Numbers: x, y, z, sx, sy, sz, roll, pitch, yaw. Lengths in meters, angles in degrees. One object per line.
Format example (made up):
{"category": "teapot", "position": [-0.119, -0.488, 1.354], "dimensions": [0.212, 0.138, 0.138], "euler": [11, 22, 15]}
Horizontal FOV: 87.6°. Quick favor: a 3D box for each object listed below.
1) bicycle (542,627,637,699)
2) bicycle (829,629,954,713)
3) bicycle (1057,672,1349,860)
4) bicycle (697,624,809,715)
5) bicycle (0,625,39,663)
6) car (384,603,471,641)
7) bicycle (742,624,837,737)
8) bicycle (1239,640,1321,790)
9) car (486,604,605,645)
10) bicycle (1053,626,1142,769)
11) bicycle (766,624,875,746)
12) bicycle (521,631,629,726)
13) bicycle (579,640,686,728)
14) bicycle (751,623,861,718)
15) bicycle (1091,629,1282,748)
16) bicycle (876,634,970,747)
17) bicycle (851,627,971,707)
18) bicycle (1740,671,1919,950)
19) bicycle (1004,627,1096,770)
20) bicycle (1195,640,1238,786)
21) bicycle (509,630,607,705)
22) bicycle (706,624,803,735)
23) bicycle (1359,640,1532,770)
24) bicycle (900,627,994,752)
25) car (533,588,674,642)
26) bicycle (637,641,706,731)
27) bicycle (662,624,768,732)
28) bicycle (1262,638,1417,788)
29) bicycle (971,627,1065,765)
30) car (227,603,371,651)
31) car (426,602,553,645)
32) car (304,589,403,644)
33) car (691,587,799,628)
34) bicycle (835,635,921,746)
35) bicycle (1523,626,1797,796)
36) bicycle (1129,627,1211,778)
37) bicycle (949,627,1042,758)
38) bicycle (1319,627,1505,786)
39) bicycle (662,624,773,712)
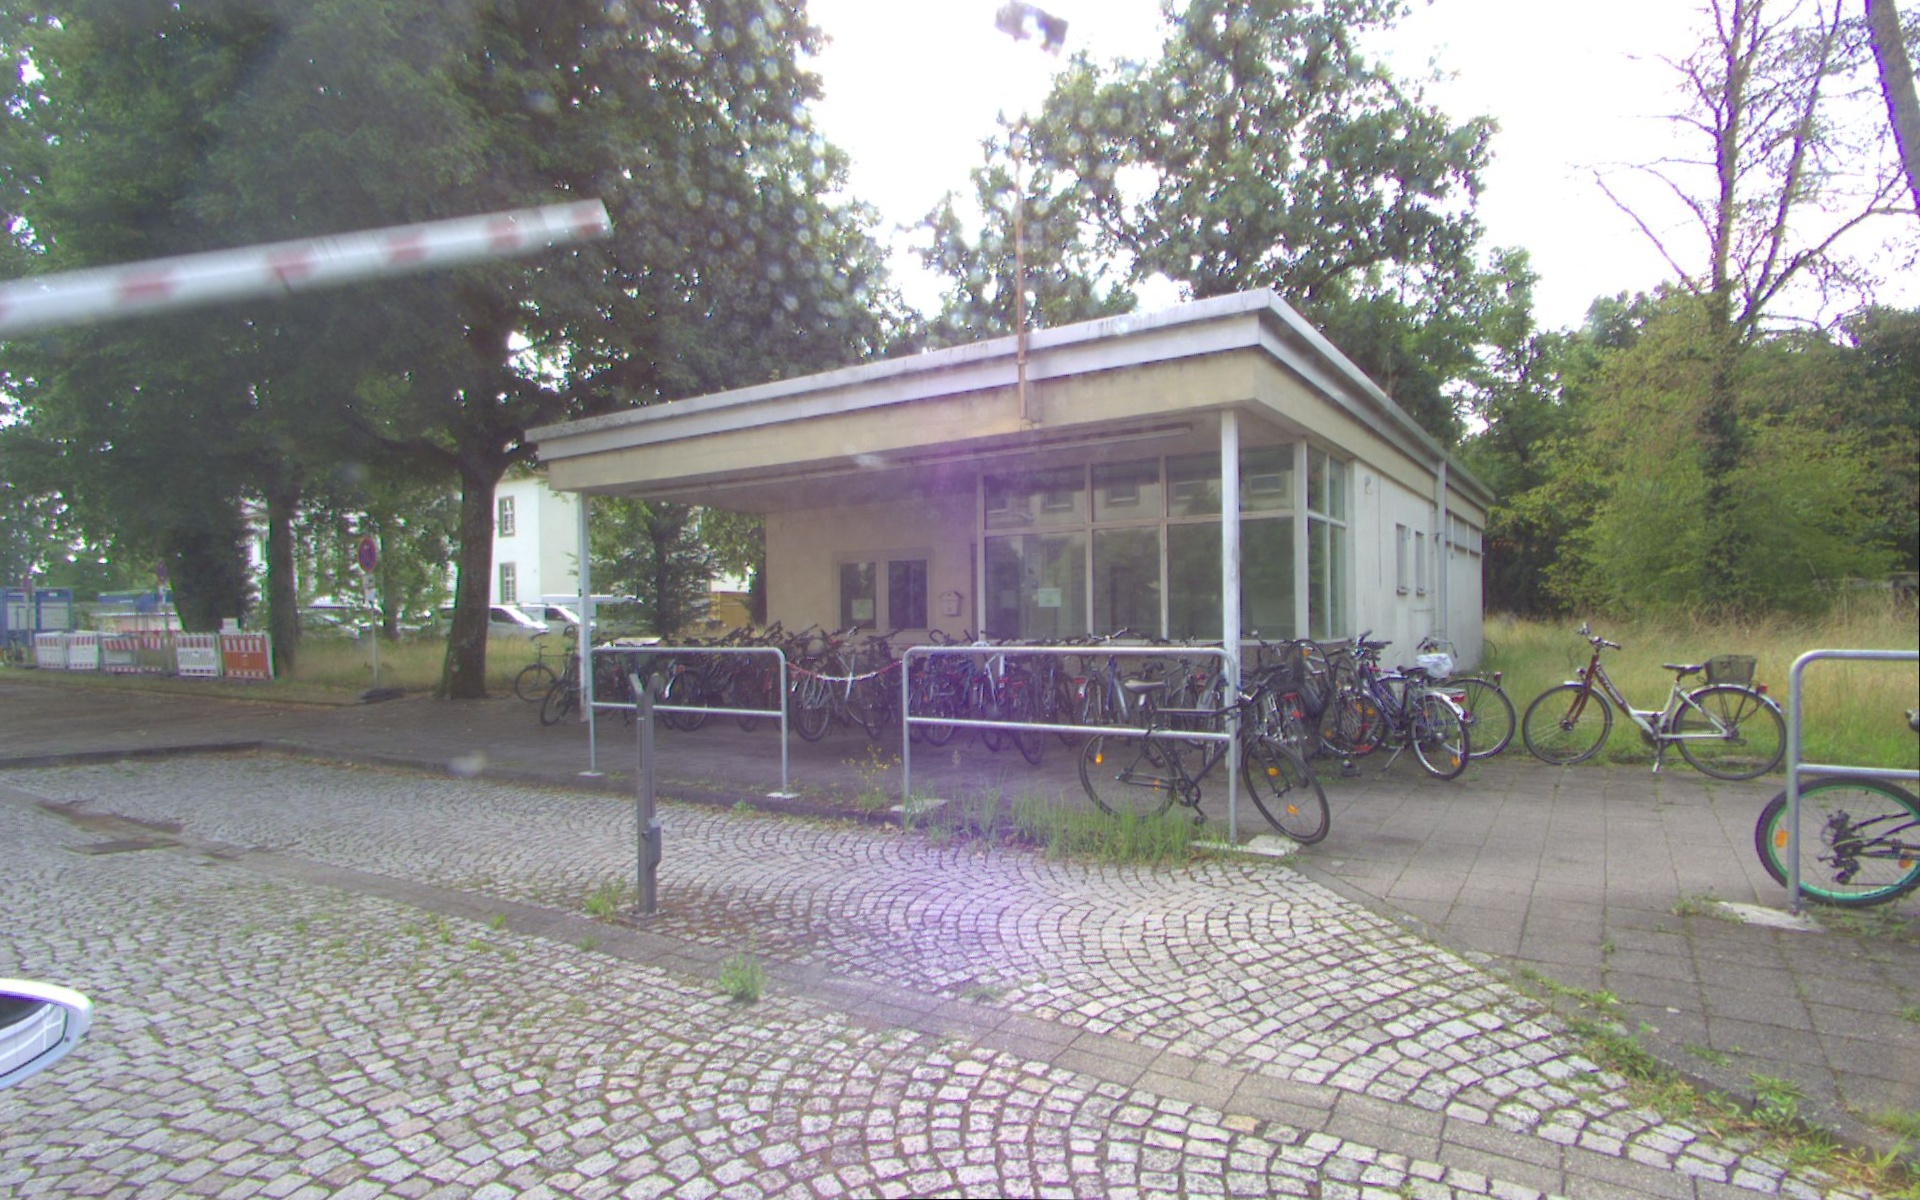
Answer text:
{"category": "bicycle", "position": [-6.164, 1.025, 16.647], "dimensions": [1.611, 1.132, 0.595], "euler": [-1, 2, 32]}
{"category": "bicycle", "position": [-0.952, 0.967, 13.852], "dimensions": [1.652, 1.090, 0.479], "euler": [-1, 2, 22]}
{"category": "bicycle", "position": [1.443, 0.944, 6.080], "dimensions": [1.632, 0.965, 0.533], "euler": [-2, 0, 33]}
{"category": "bicycle", "position": [-2.984, 0.970, 14.577], "dimensions": [0.599, 1.181, 1.738], "euler": [0, 1, 28]}
{"category": "bicycle", "position": [-30.065, 1.390, 31.906], "dimensions": [1.879, 1.185, 0.640], "euler": [-1, 0, 35]}
{"category": "car", "position": [-27.550, 1.163, 51.748], "dimensions": [4.809, 1.848, 1.989], "euler": [-1, -2, 35]}
{"category": "bicycle", "position": [-2.018, 0.924, 12.054], "dimensions": [0.412, 1.206, 1.632], "euler": [-1, 1, 17]}
{"category": "bicycle", "position": [2.526, 0.867, 7.998], "dimensions": [0.332, 1.059, 1.406], "euler": [0, -1, 6]}
{"category": "car", "position": [-19.445, 1.167, 47.118], "dimensions": [4.780, 1.848, 2.001], "euler": [0, -2, 6]}
{"category": "bicycle", "position": [1.318, 0.857, 9.365], "dimensions": [0.350, 1.156, 1.612], "euler": [0, 1, 25]}
{"category": "bicycle", "position": [-1.544, 0.912, 11.334], "dimensions": [0.490, 1.206, 1.631], "euler": [-1, 1, 20]}
{"category": "bicycle", "position": [-5.151, 1.020, 13.501], "dimensions": [0.332, 1.123, 1.677], "euler": [-1, 1, 19]}
{"category": "bicycle", "position": [-4.289, 1.072, 13.247], "dimensions": [0.744, 0.989, 1.745], "euler": [-1, 1, 3]}
{"category": "bicycle", "position": [-2.148, 0.957, 14.199], "dimensions": [0.599, 1.181, 1.738], "euler": [0, 1, 28]}
{"category": "bicycle", "position": [2.255, 0.849, 10.081], "dimensions": [1.806, 1.090, 0.489], "euler": [-1, 2, 32]}
{"category": "bicycle", "position": [-0.373, 0.946, 10.946], "dimensions": [0.320, 1.064, 1.590], "euler": [0, 1, 25]}
{"category": "bicycle", "position": [-0.708, 0.949, 14.370], "dimensions": [1.652, 1.090, 0.479], "euler": [-1, 2, 22]}
{"category": "bicycle", "position": [4.275, 0.872, 4.181], "dimensions": [1.543, 1.076, 0.688], "euler": [-1, 0, 33]}
{"category": "bicycle", "position": [0.873, 0.865, 9.388], "dimensions": [0.320, 1.156, 1.612], "euler": [0, 1, 25]}
{"category": "bicycle", "position": [2.074, 0.874, 8.145], "dimensions": [0.282, 1.076, 1.153], "euler": [0, 0, 12]}
{"category": "bicycle", "position": [-6.472, 1.058, 16.100], "dimensions": [1.611, 1.132, 0.595], "euler": [-1, 2, 32]}
{"category": "bicycle", "position": [-2.495, 0.931, 12.308], "dimensions": [0.412, 1.206, 1.632], "euler": [-1, 1, 17]}
{"category": "bicycle", "position": [4.220, 0.876, 8.777], "dimensions": [0.400, 1.023, 1.348], "euler": [-1, 0, -34]}
{"category": "bicycle", "position": [-0.107, 0.898, 10.607], "dimensions": [0.320, 1.156, 1.590], "euler": [0, 1, 25]}
{"category": "car", "position": [-17.676, 0.785, 49.842], "dimensions": [6.297, 2.611, 2.001], "euler": [0, -1, 3]}
{"category": "bicycle", "position": [-3.652, 1.058, 12.766], "dimensions": [0.316, 0.989, 1.634], "euler": [-1, 1, 3]}
{"category": "bicycle", "position": [-3.043, 0.942, 12.598], "dimensions": [0.465, 1.206, 1.631], "euler": [-1, 1, 19]}
{"category": "bicycle", "position": [3.059, 0.863, 8.244], "dimensions": [0.446, 1.059, 1.750], "euler": [0, -1, -6]}
{"category": "bicycle", "position": [0.593, 0.874, 9.663], "dimensions": [0.320, 1.156, 1.612], "euler": [0, 1, 25]}
{"category": "car", "position": [-28.351, 1.114, 43.090], "dimensions": [1.880, 1.946, 4.847], "euler": [1, 0, 33]}
{"category": "car", "position": [-20.930, 1.052, 44.650], "dimensions": [4.780, 1.848, 2.001], "euler": [0, -2, 6]}
{"category": "car", "position": [-29.738, 0.859, 49.044], "dimensions": [5.830, 2.588, 1.988], "euler": [-1, -2, 35]}
{"category": "car", "position": [-11.811, 0.485, 55.438], "dimensions": [2.182, 2.122, 6.129], "euler": [-1, -2, 33]}
{"category": "bicycle", "position": [-0.886, 0.963, 11.185], "dimensions": [0.328, 1.064, 1.631], "euler": [-1, 1, 18]}
{"category": "bicycle", "position": [5.321, 0.785, 7.679], "dimensions": [1.660, 1.153, 0.644], "euler": [-1, 0, 39]}
{"category": "bicycle", "position": [1.904, 0.855, 8.933], "dimensions": [0.350, 1.156, 1.612], "euler": [0, 1, 25]}
{"category": "bicycle", "position": [0.390, 0.885, 10.132], "dimensions": [0.320, 1.156, 1.612], "euler": [0, 1, 25]}
{"category": "bicycle", "position": [3.645, 0.806, 8.237], "dimensions": [0.465, 1.146, 1.739], "euler": [0, -1, -11]}
{"category": "bicycle", "position": [-3.622, 0.992, 15.124], "dimensions": [0.599, 1.181, 1.738], "euler": [0, 1, 28]}
